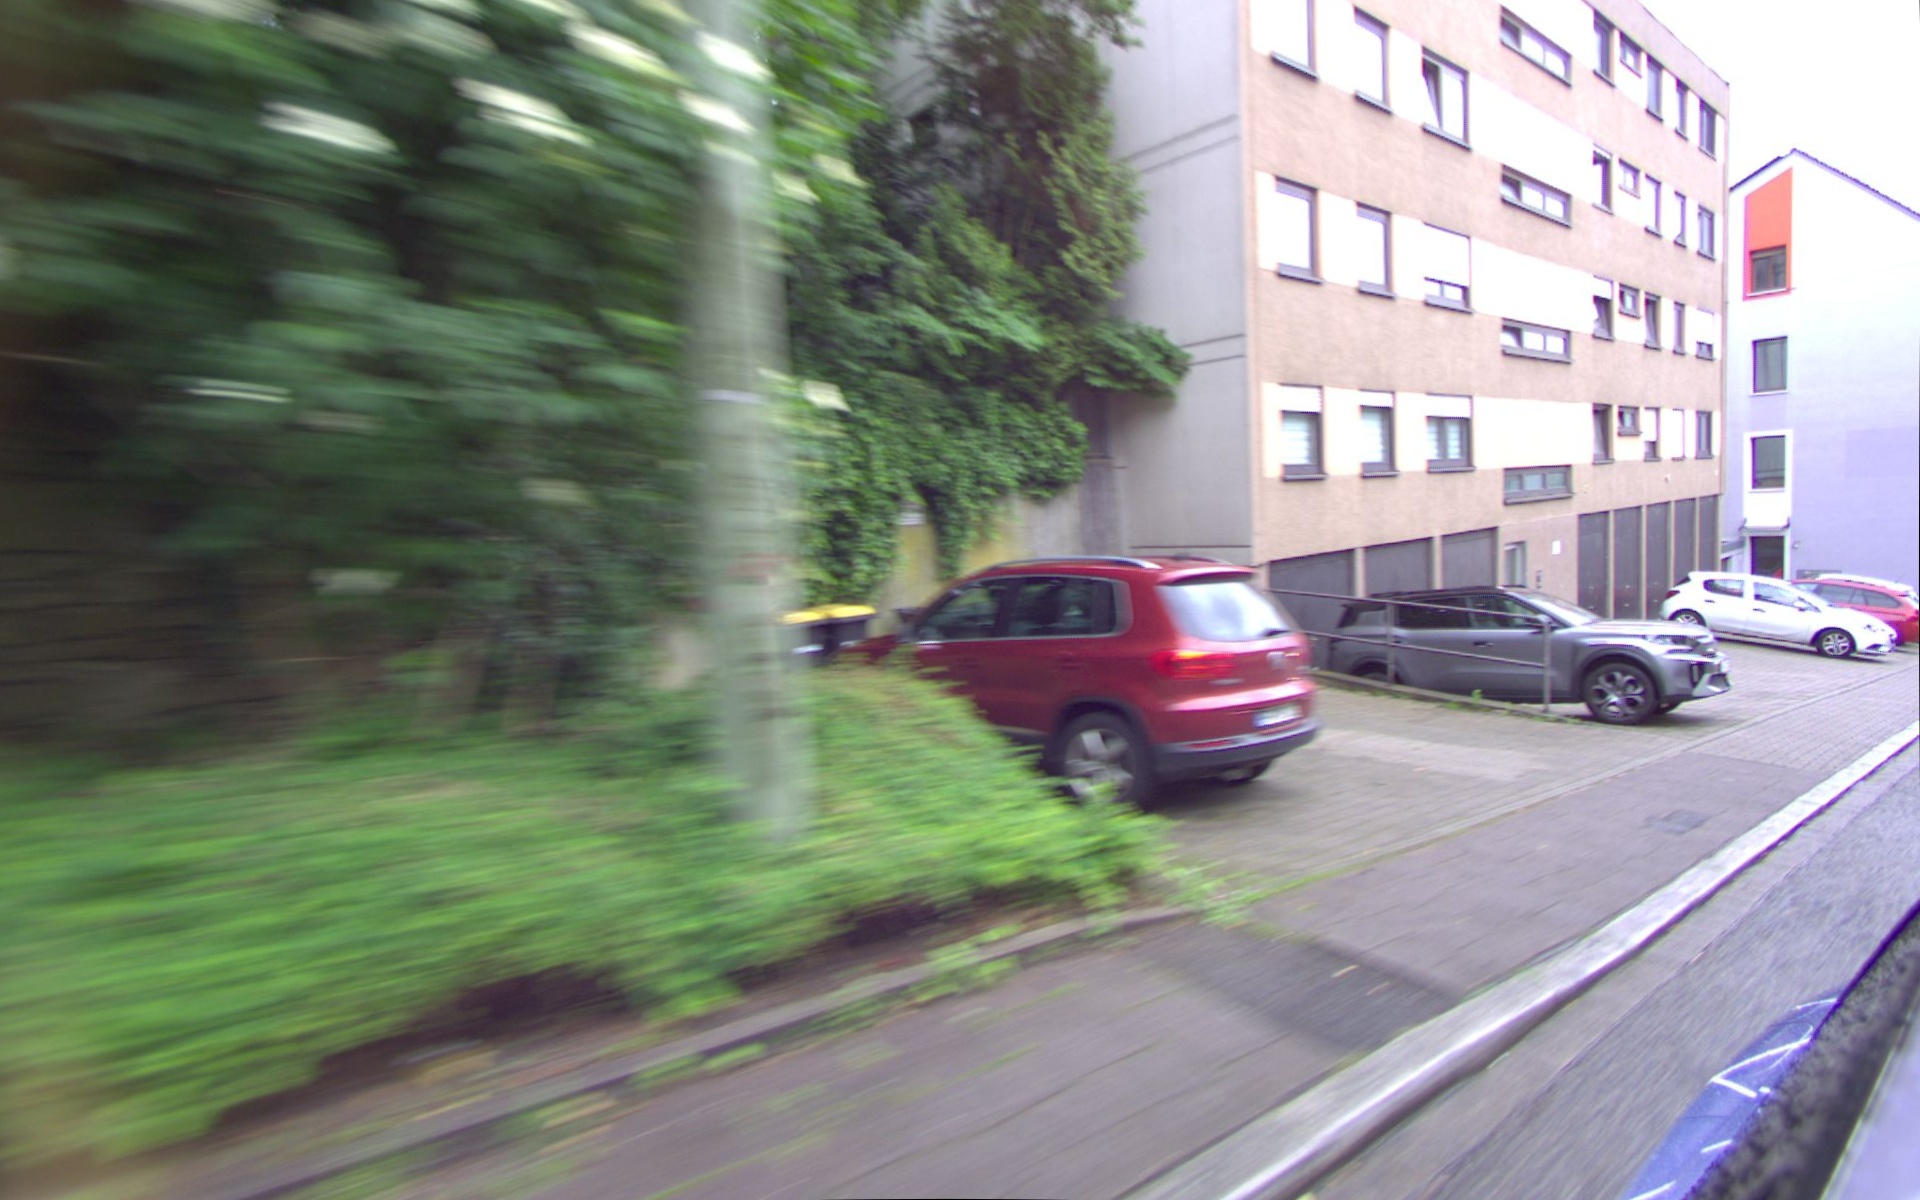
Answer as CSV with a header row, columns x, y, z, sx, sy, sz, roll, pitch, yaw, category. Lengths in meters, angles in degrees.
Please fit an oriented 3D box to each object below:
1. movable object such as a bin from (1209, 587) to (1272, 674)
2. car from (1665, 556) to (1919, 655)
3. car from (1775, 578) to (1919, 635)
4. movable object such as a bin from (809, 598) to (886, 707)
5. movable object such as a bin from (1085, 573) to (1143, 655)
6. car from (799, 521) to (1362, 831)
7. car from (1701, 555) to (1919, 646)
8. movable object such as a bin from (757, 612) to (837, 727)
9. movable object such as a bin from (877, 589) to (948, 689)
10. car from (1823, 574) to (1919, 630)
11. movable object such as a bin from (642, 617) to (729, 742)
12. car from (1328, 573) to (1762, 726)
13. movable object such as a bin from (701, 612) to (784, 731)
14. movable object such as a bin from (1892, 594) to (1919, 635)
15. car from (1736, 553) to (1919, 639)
x,y,z,sx,sy,sz,roll,pitch,yaw,category
3.621,0.379,13.074,0.501,1.074,0.602,-3,2,-43,movable object such as a bin
17.688,0.028,21.597,1.665,1.547,3.969,-1,8,-44,car
25.972,0.165,28.623,1.861,1.484,4.275,0,2,-41,car
-1.175,0.531,10.608,0.593,1.074,0.508,-3,2,-41,movable object such as a bin
2.118,0.179,13.903,0.593,1.074,0.508,-3,2,-41,movable object such as a bin
0.678,0.445,7.858,1.731,1.757,4.200,0,0,-44,car
21.192,-0.046,24.899,1.844,1.546,4.356,0,9,-41,car
-1.648,0.683,10.209,0.593,1.074,0.508,-3,2,-41,movable object such as a bin
-0.535,0.425,11.495,0.593,1.074,0.508,-3,2,-41,movable object such as a bin
28.751,0.068,30.598,1.632,1.569,3.809,0,3,-41,car
-2.557,0.714,9.425,0.593,1.074,0.508,-3,2,-41,movable object such as a bin
6.852,0.507,12.212,1.730,1.515,4.202,-1,0,-42,car
-2.107,0.672,9.819,0.593,1.074,0.508,-3,2,-41,movable object such as a bin
25.210,0.386,26.786,0.759,1.033,0.723,-3,2,-41,movable object such as a bin
23.031,-0.146,26.543,1.699,1.721,3.837,0,8,-41,car
